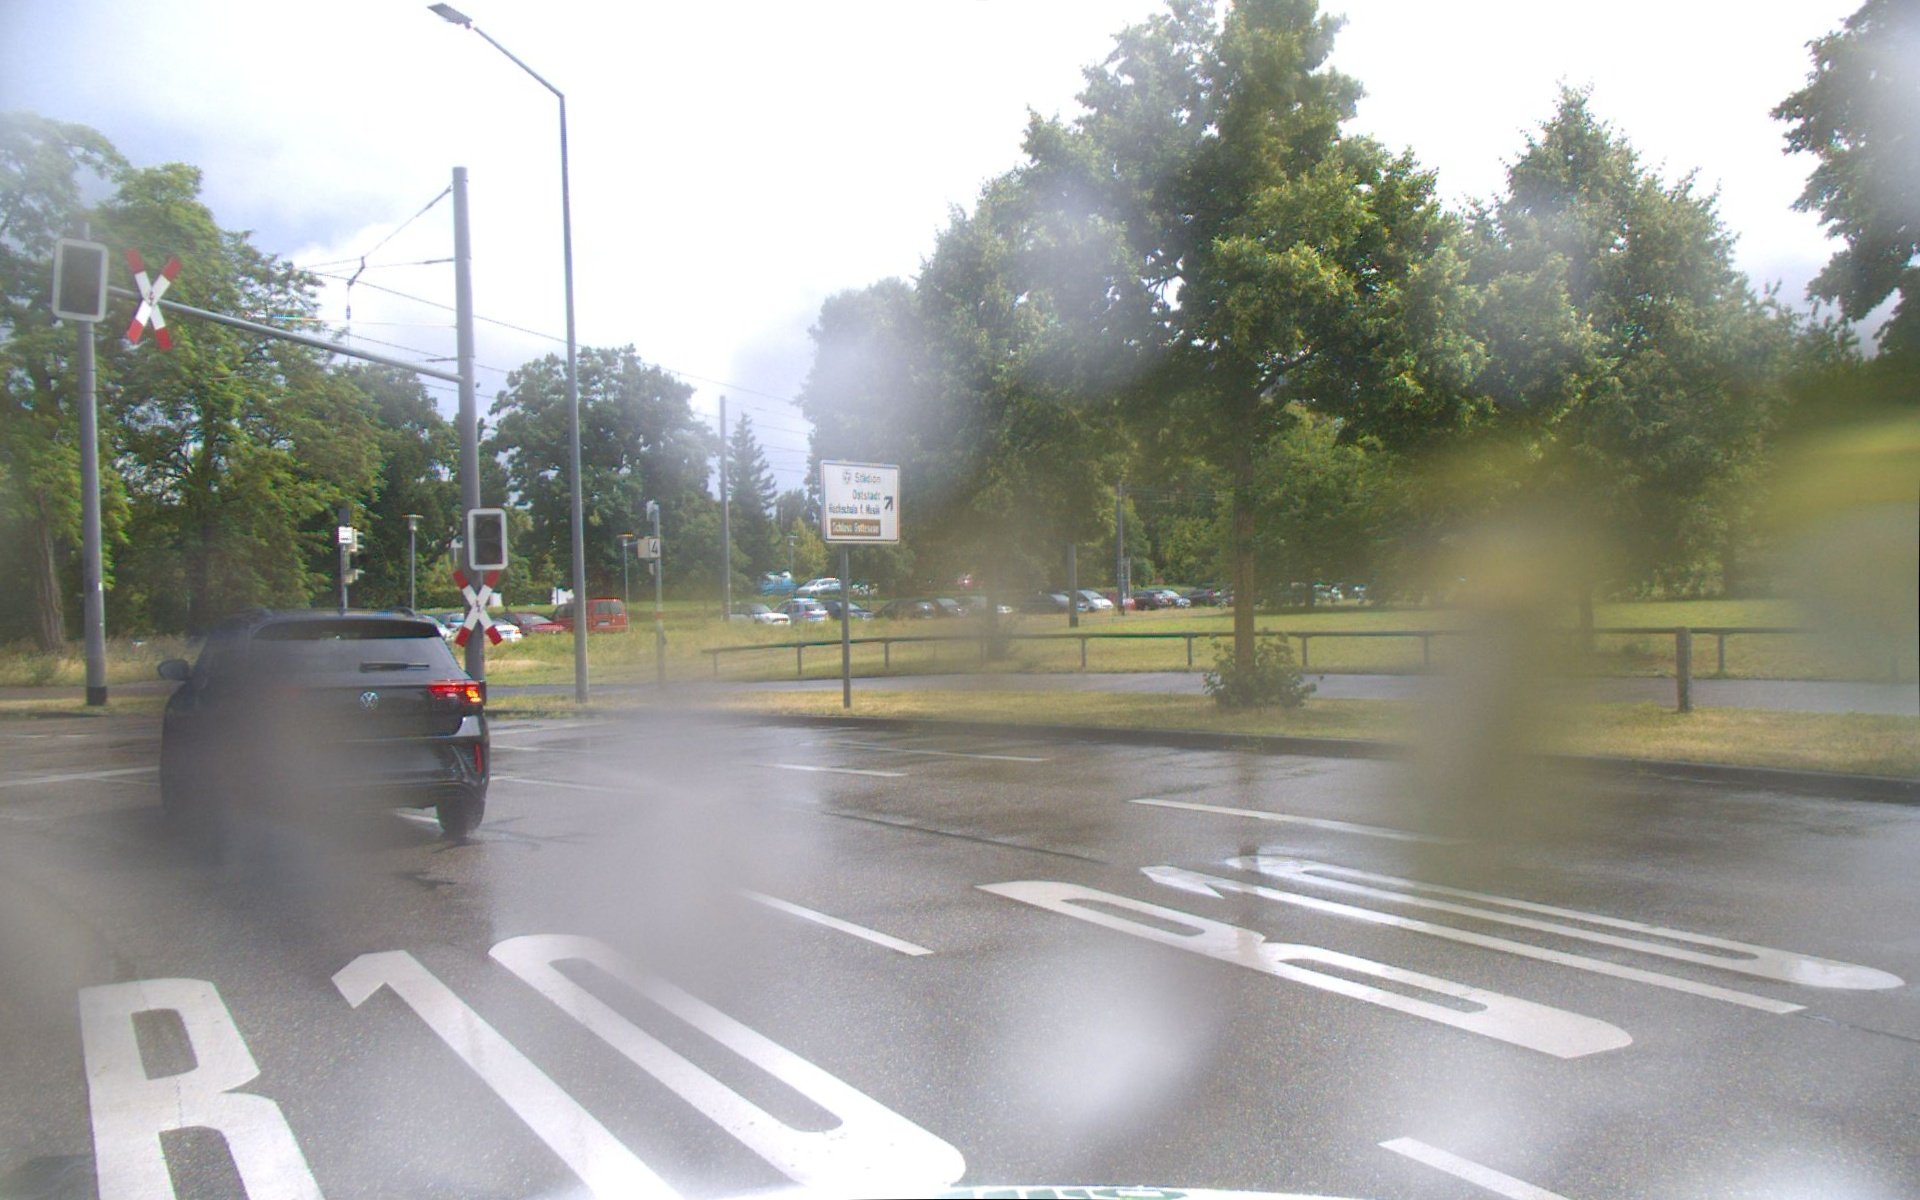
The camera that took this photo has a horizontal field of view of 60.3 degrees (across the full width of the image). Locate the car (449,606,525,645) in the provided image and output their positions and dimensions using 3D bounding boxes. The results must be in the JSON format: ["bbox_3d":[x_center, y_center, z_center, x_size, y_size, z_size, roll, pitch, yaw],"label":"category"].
[{"bbox_3d":[-19.632,1.068,68.520,1.631,1.487,3.555,-2,0,-42],"label":"car"}]

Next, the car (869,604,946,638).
[{"bbox_3d":[-2.733,1.098,86.006,1.837,1.587,3.913,-2,0,-44],"label":"car"}]

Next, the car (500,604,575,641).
[{"bbox_3d":[-18.035,0.974,70.484,1.631,1.487,3.555,-2,0,-42],"label":"car"}]

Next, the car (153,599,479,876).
[{"bbox_3d":[-4.721,0.819,12.046,1.872,1.646,3.971,0,0,-23],"label":"car"}]

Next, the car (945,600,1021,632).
[{"bbox_3d":[1.235,0.896,89.753,1.837,1.587,3.913,-2,0,-44],"label":"car"}]

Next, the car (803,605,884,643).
[{"bbox_3d":[-5.847,1.205,82.770,1.984,1.744,3.936,-2,0,-43],"label":"car"}]

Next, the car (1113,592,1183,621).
[{"bbox_3d":[11.326,0.383,99.845,1.837,1.587,3.913,-2,0,-44],"label":"car"}]

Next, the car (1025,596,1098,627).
[{"bbox_3d":[5.788,0.669,94.713,1.837,1.587,3.913,-2,0,-44],"label":"car"}]

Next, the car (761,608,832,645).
[{"bbox_3d":[-8.023,1.299,80.864,1.539,1.689,3.569,-2,0,-44],"label":"car"}]

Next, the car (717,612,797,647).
[{"bbox_3d":[-9.734,1.416,79.255,1.786,1.554,3.934,-2,0,-44],"label":"car"}]

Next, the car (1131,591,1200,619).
[{"bbox_3d":[12.619,0.303,101.930,1.837,1.587,3.913,-2,0,-44],"label":"car"}]

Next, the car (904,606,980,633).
[{"bbox_3d":[-0.972,1.042,88.079,1.837,1.331,3.913,-2,0,-44],"label":"car"}]

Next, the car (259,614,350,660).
[{"bbox_3d":[-24.989,1.416,63.001,1.837,1.587,3.913,-2,0,-44],"label":"car"}]

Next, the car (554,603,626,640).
[{"bbox_3d":[-16.181,0.954,72.178,1.634,1.536,3.598,-2,0,-39],"label":"car"}]
